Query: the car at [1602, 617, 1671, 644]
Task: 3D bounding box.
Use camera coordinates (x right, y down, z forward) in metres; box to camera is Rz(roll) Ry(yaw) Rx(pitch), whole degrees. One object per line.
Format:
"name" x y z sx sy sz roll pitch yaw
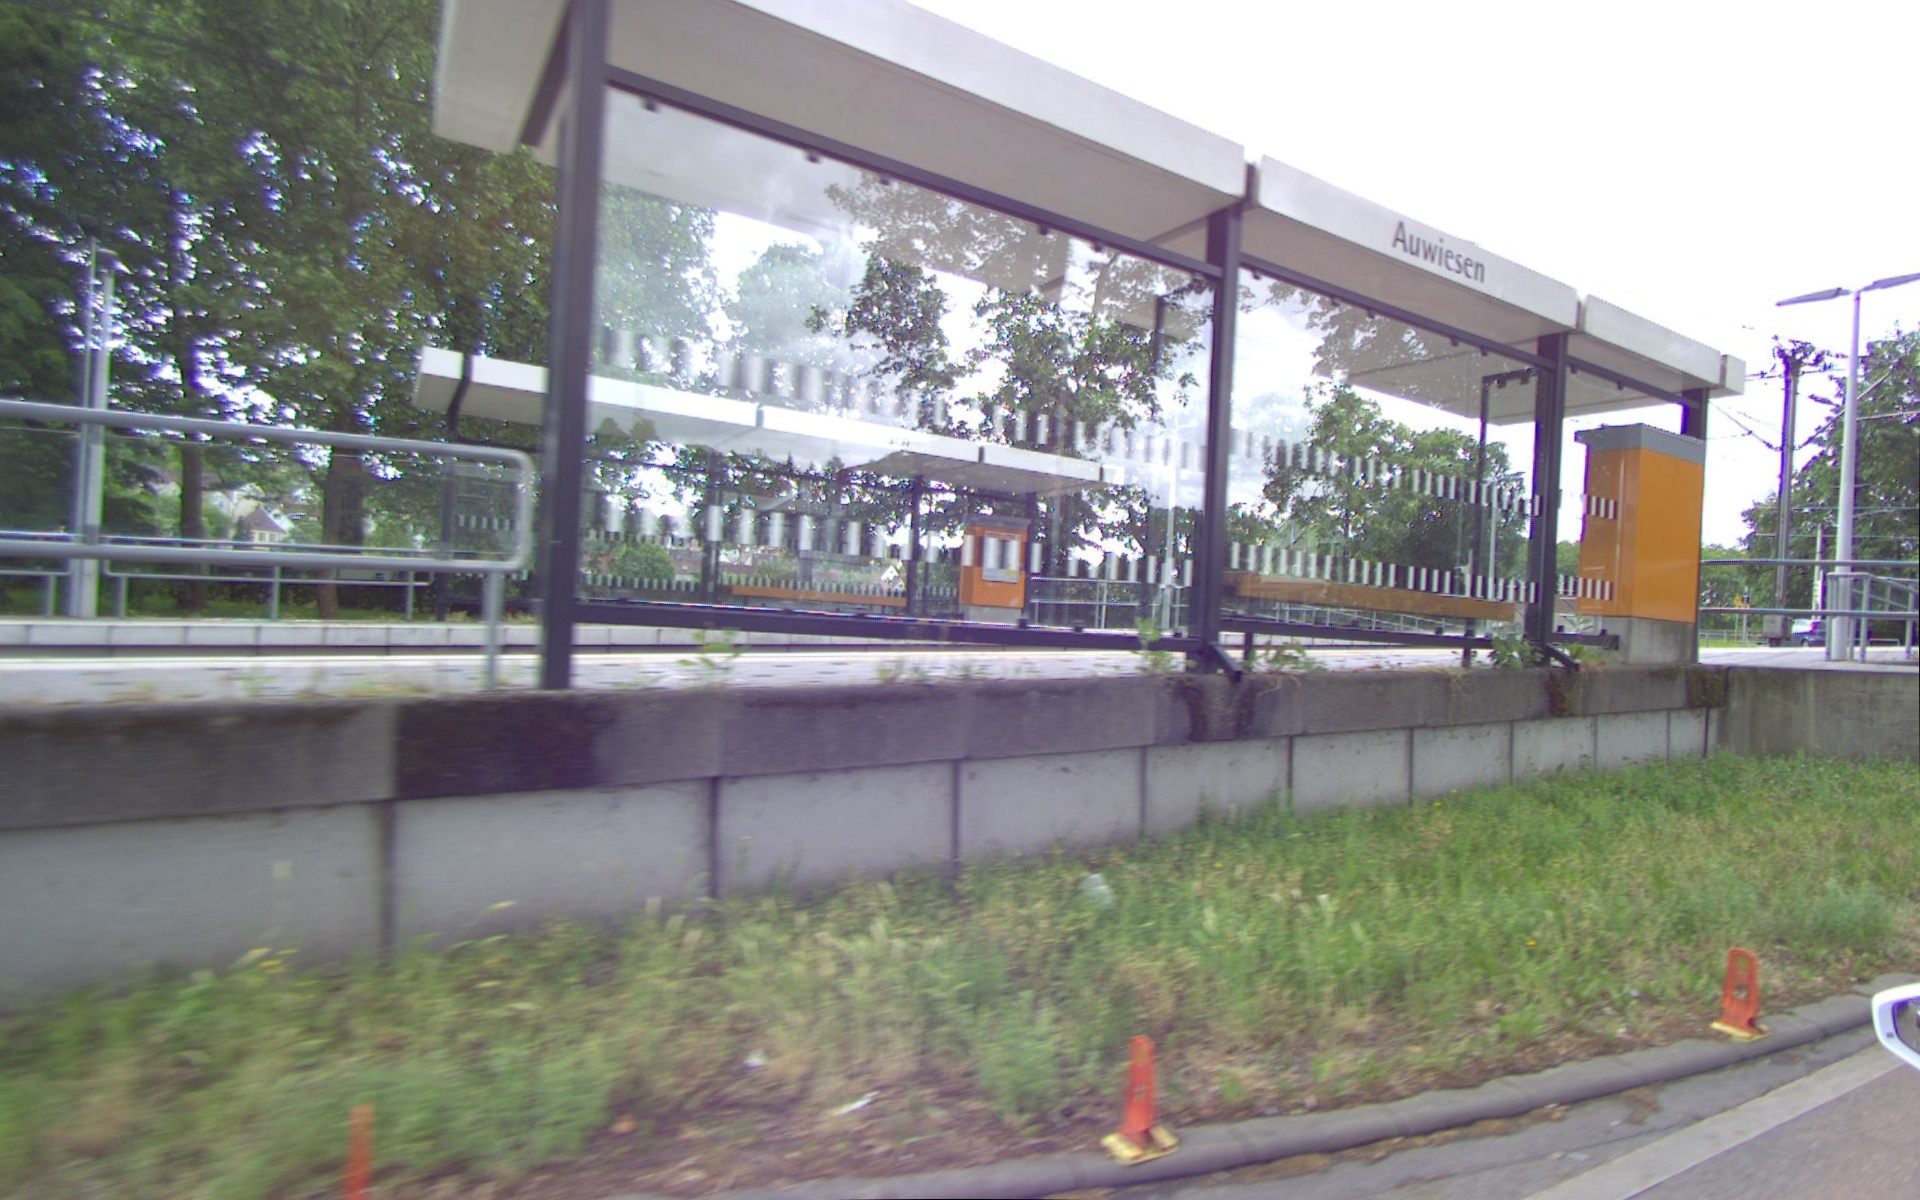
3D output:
"car" 41.170 1.852 61.208 1.959 1.418 4.002 2 1 9

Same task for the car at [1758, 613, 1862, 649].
"car" 38.634 1.380 45.771 1.959 1.418 4.002 2 1 13
